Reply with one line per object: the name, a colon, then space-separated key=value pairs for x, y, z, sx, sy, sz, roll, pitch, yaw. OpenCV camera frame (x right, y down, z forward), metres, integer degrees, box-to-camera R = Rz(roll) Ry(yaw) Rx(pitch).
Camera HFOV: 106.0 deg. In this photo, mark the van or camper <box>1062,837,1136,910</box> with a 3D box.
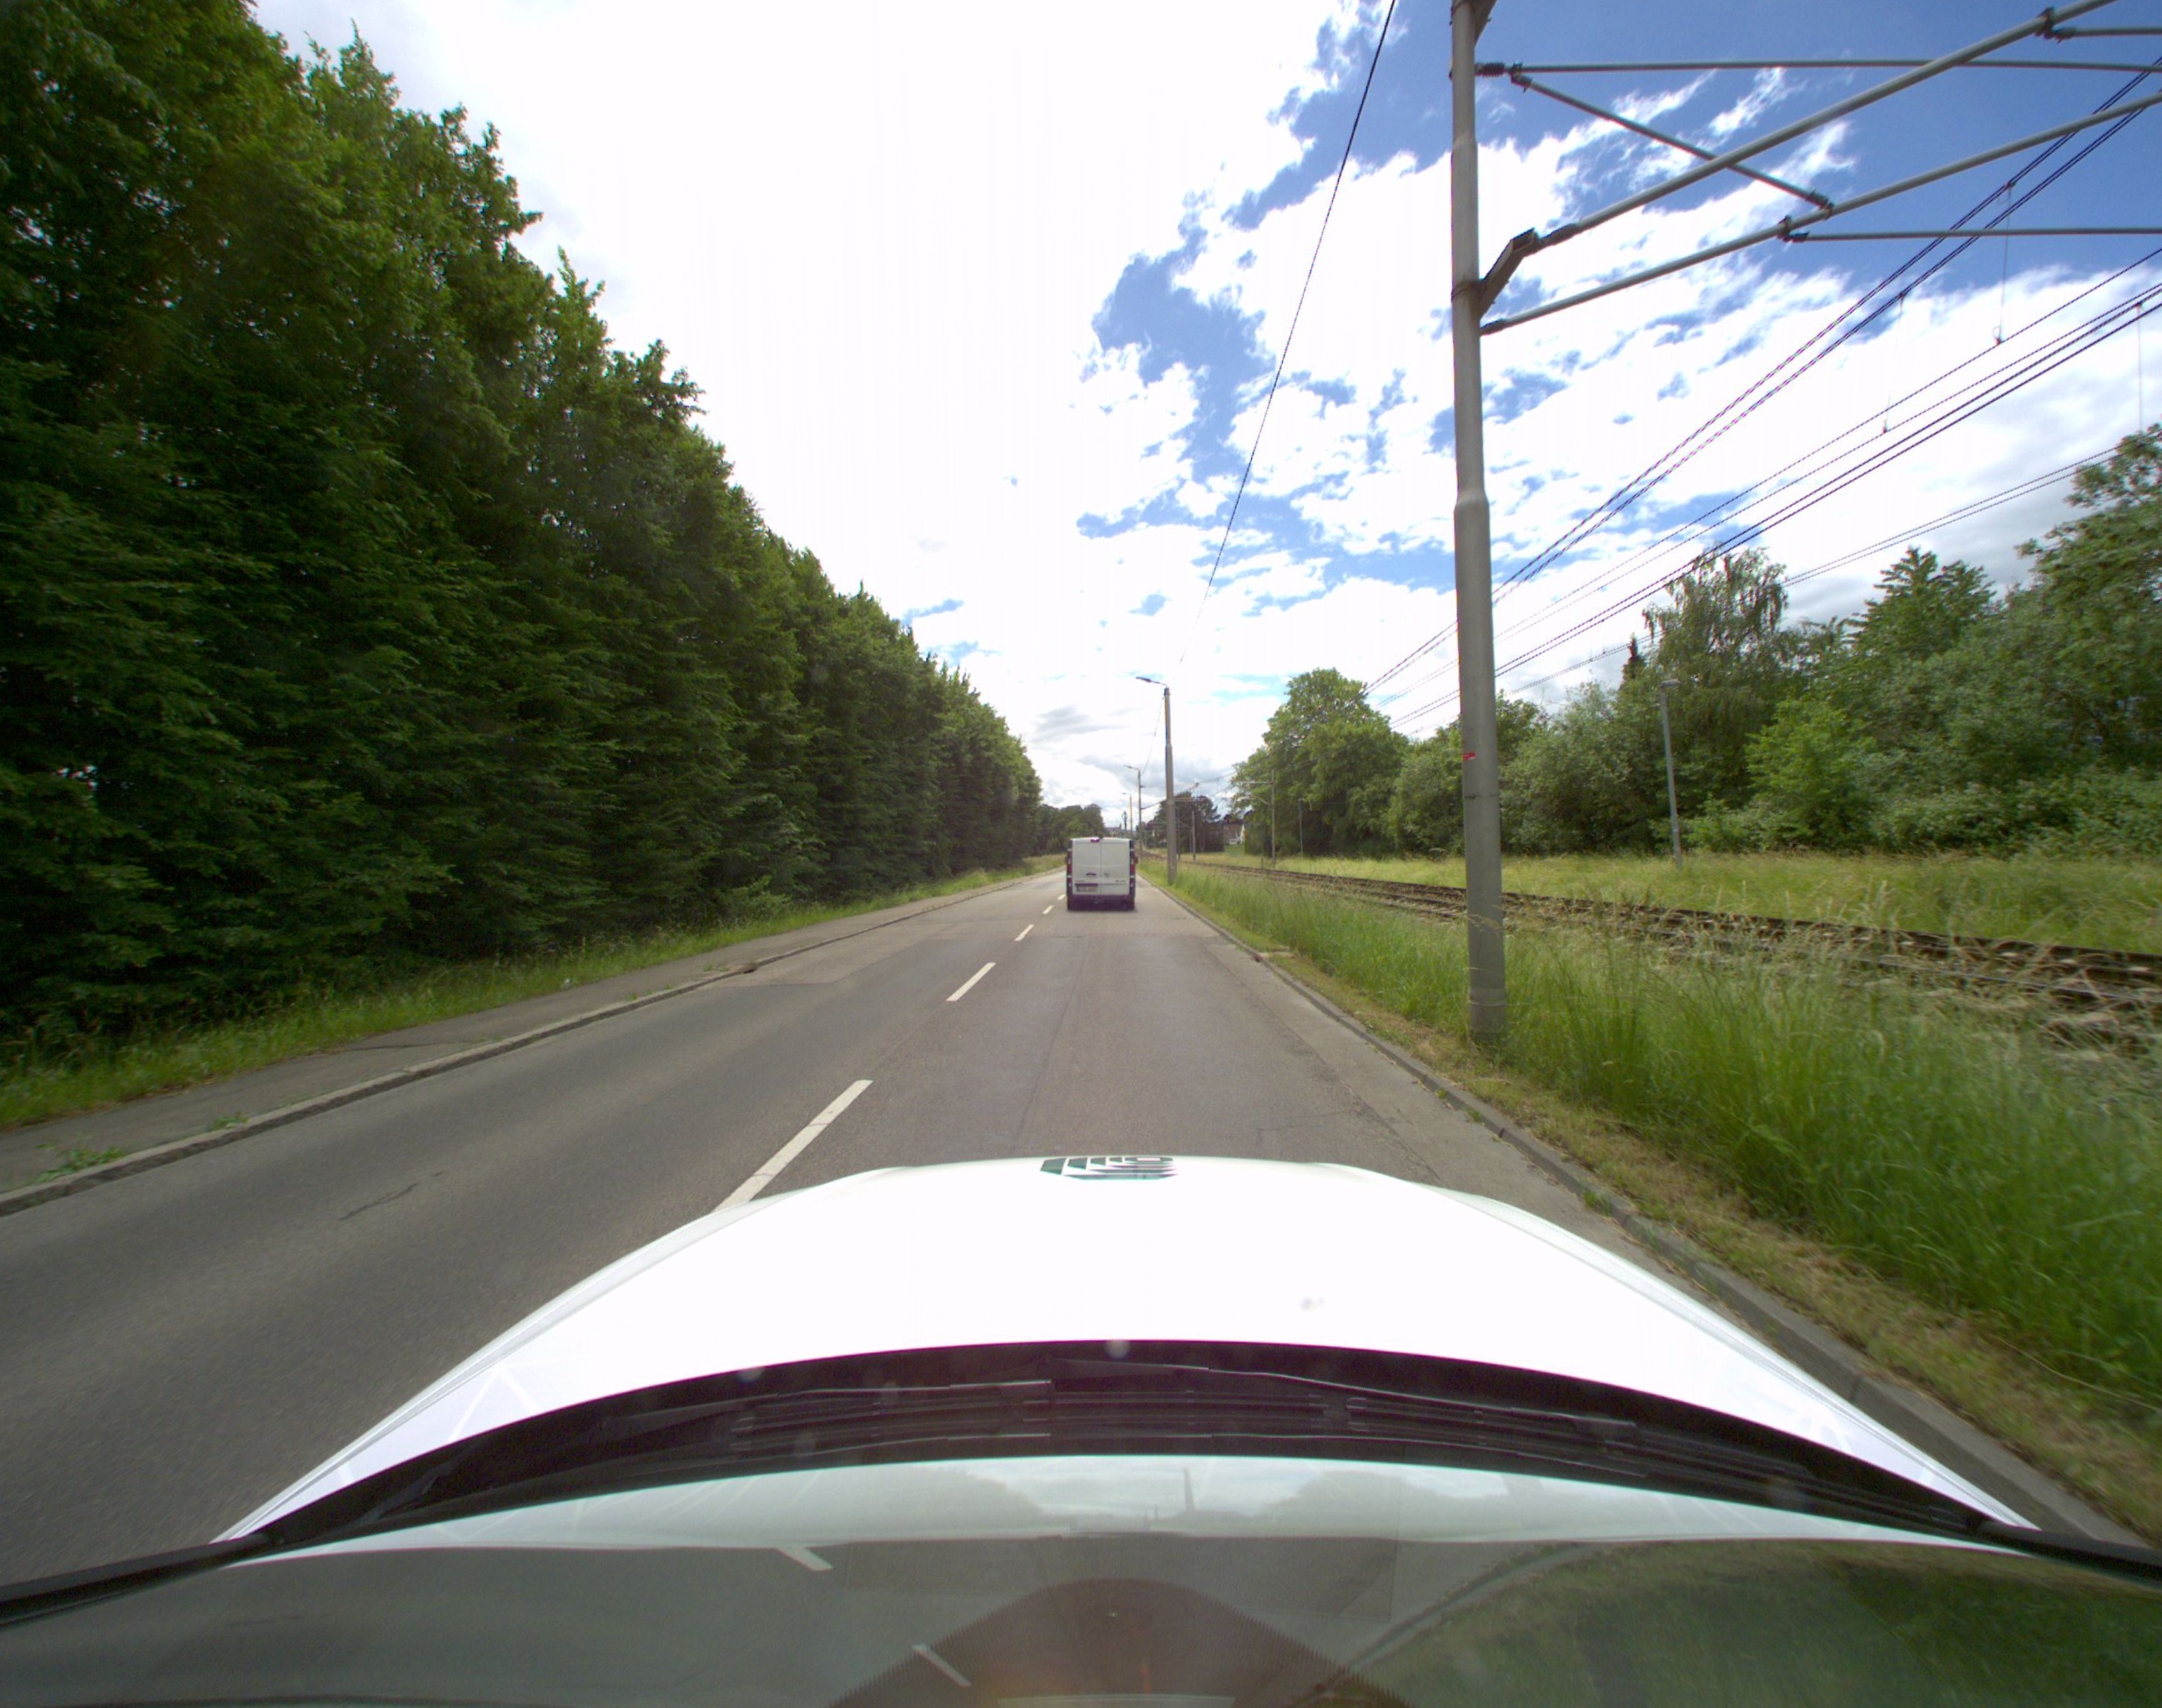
van or camper: x=0.587 y=0.501 z=23.332 sx=1.934 sy=1.897 sz=4.288 roll=0 pitch=0 yaw=3
